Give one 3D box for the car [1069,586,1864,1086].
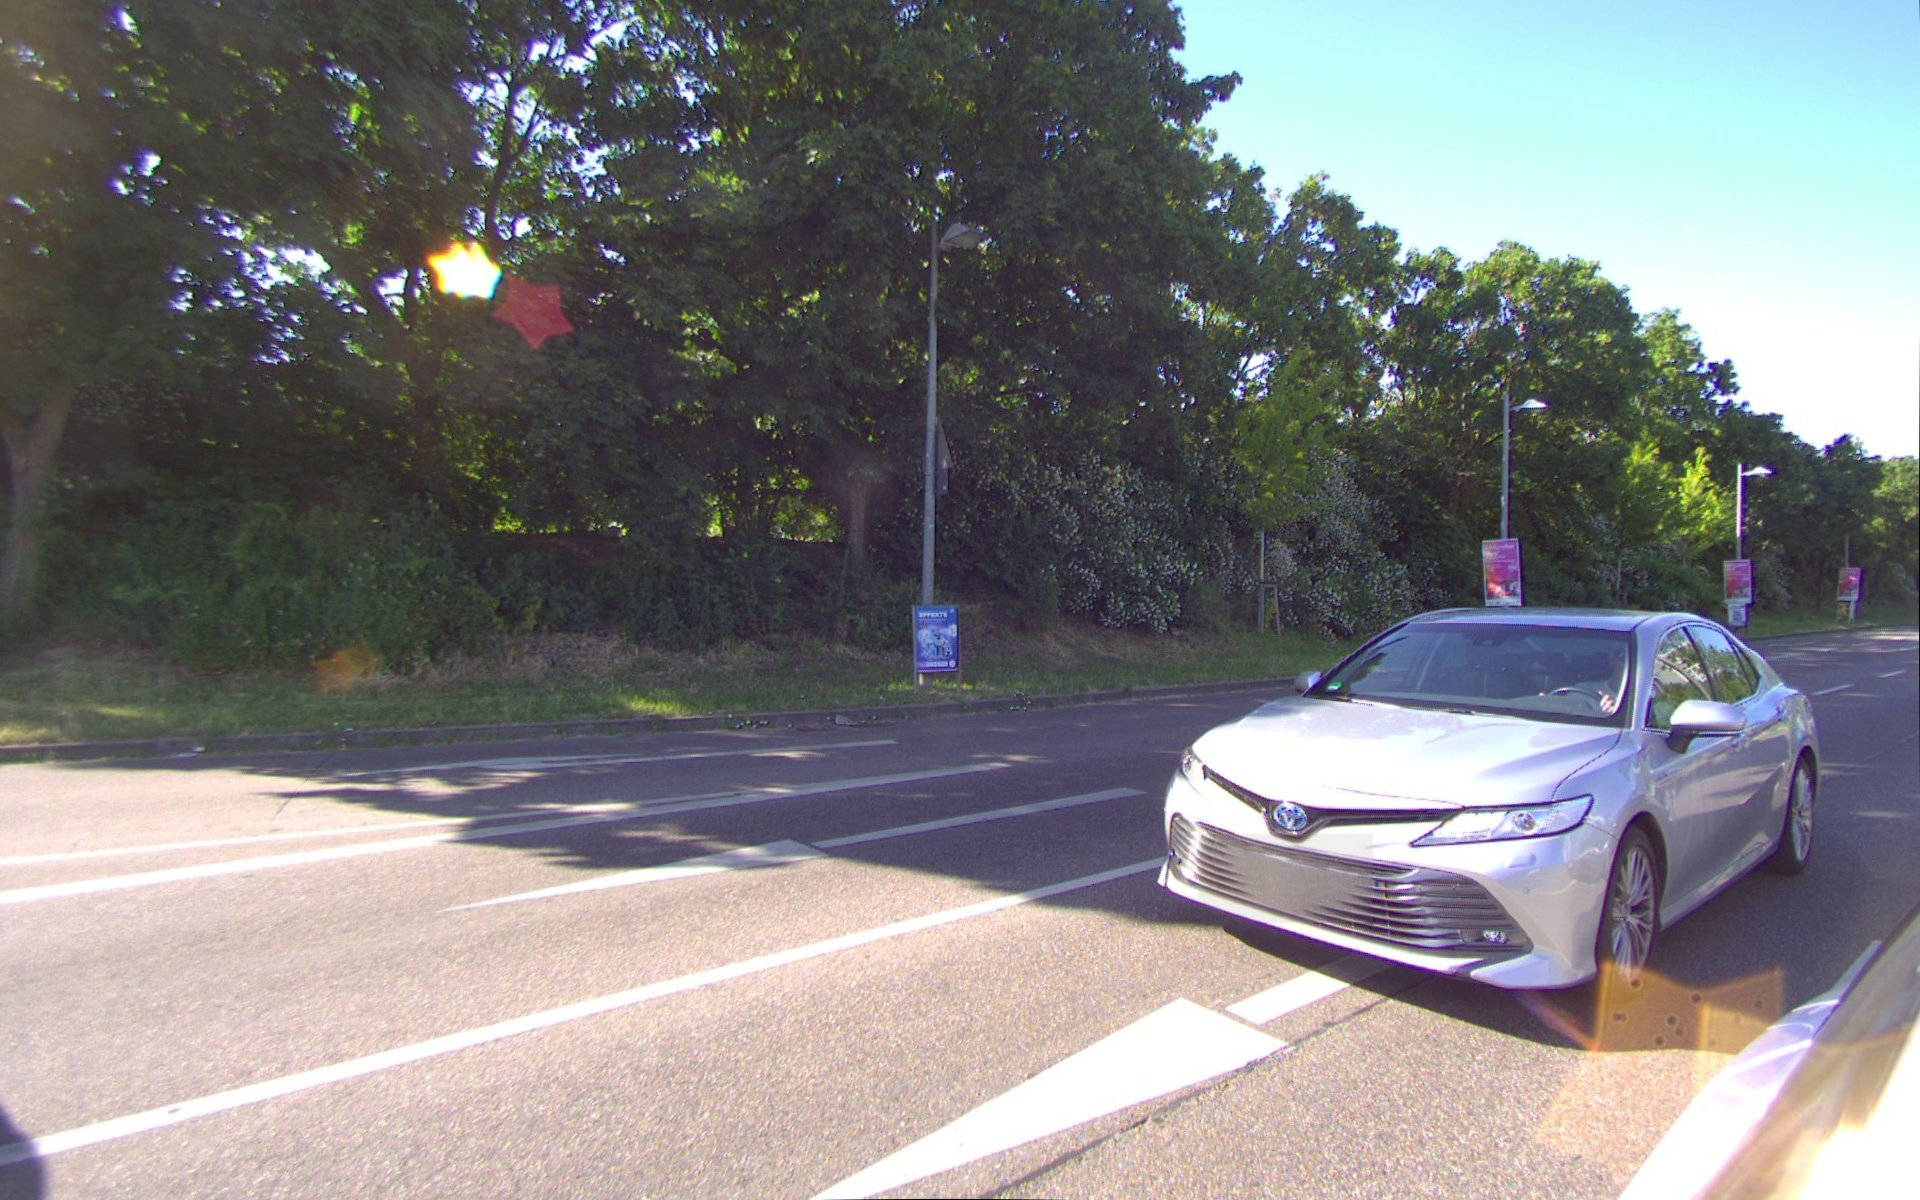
[{"bbox_3d":[2.955,0.699,5.362,4.664,1.477,2.069,0,2,-40],"label":"car"}]
